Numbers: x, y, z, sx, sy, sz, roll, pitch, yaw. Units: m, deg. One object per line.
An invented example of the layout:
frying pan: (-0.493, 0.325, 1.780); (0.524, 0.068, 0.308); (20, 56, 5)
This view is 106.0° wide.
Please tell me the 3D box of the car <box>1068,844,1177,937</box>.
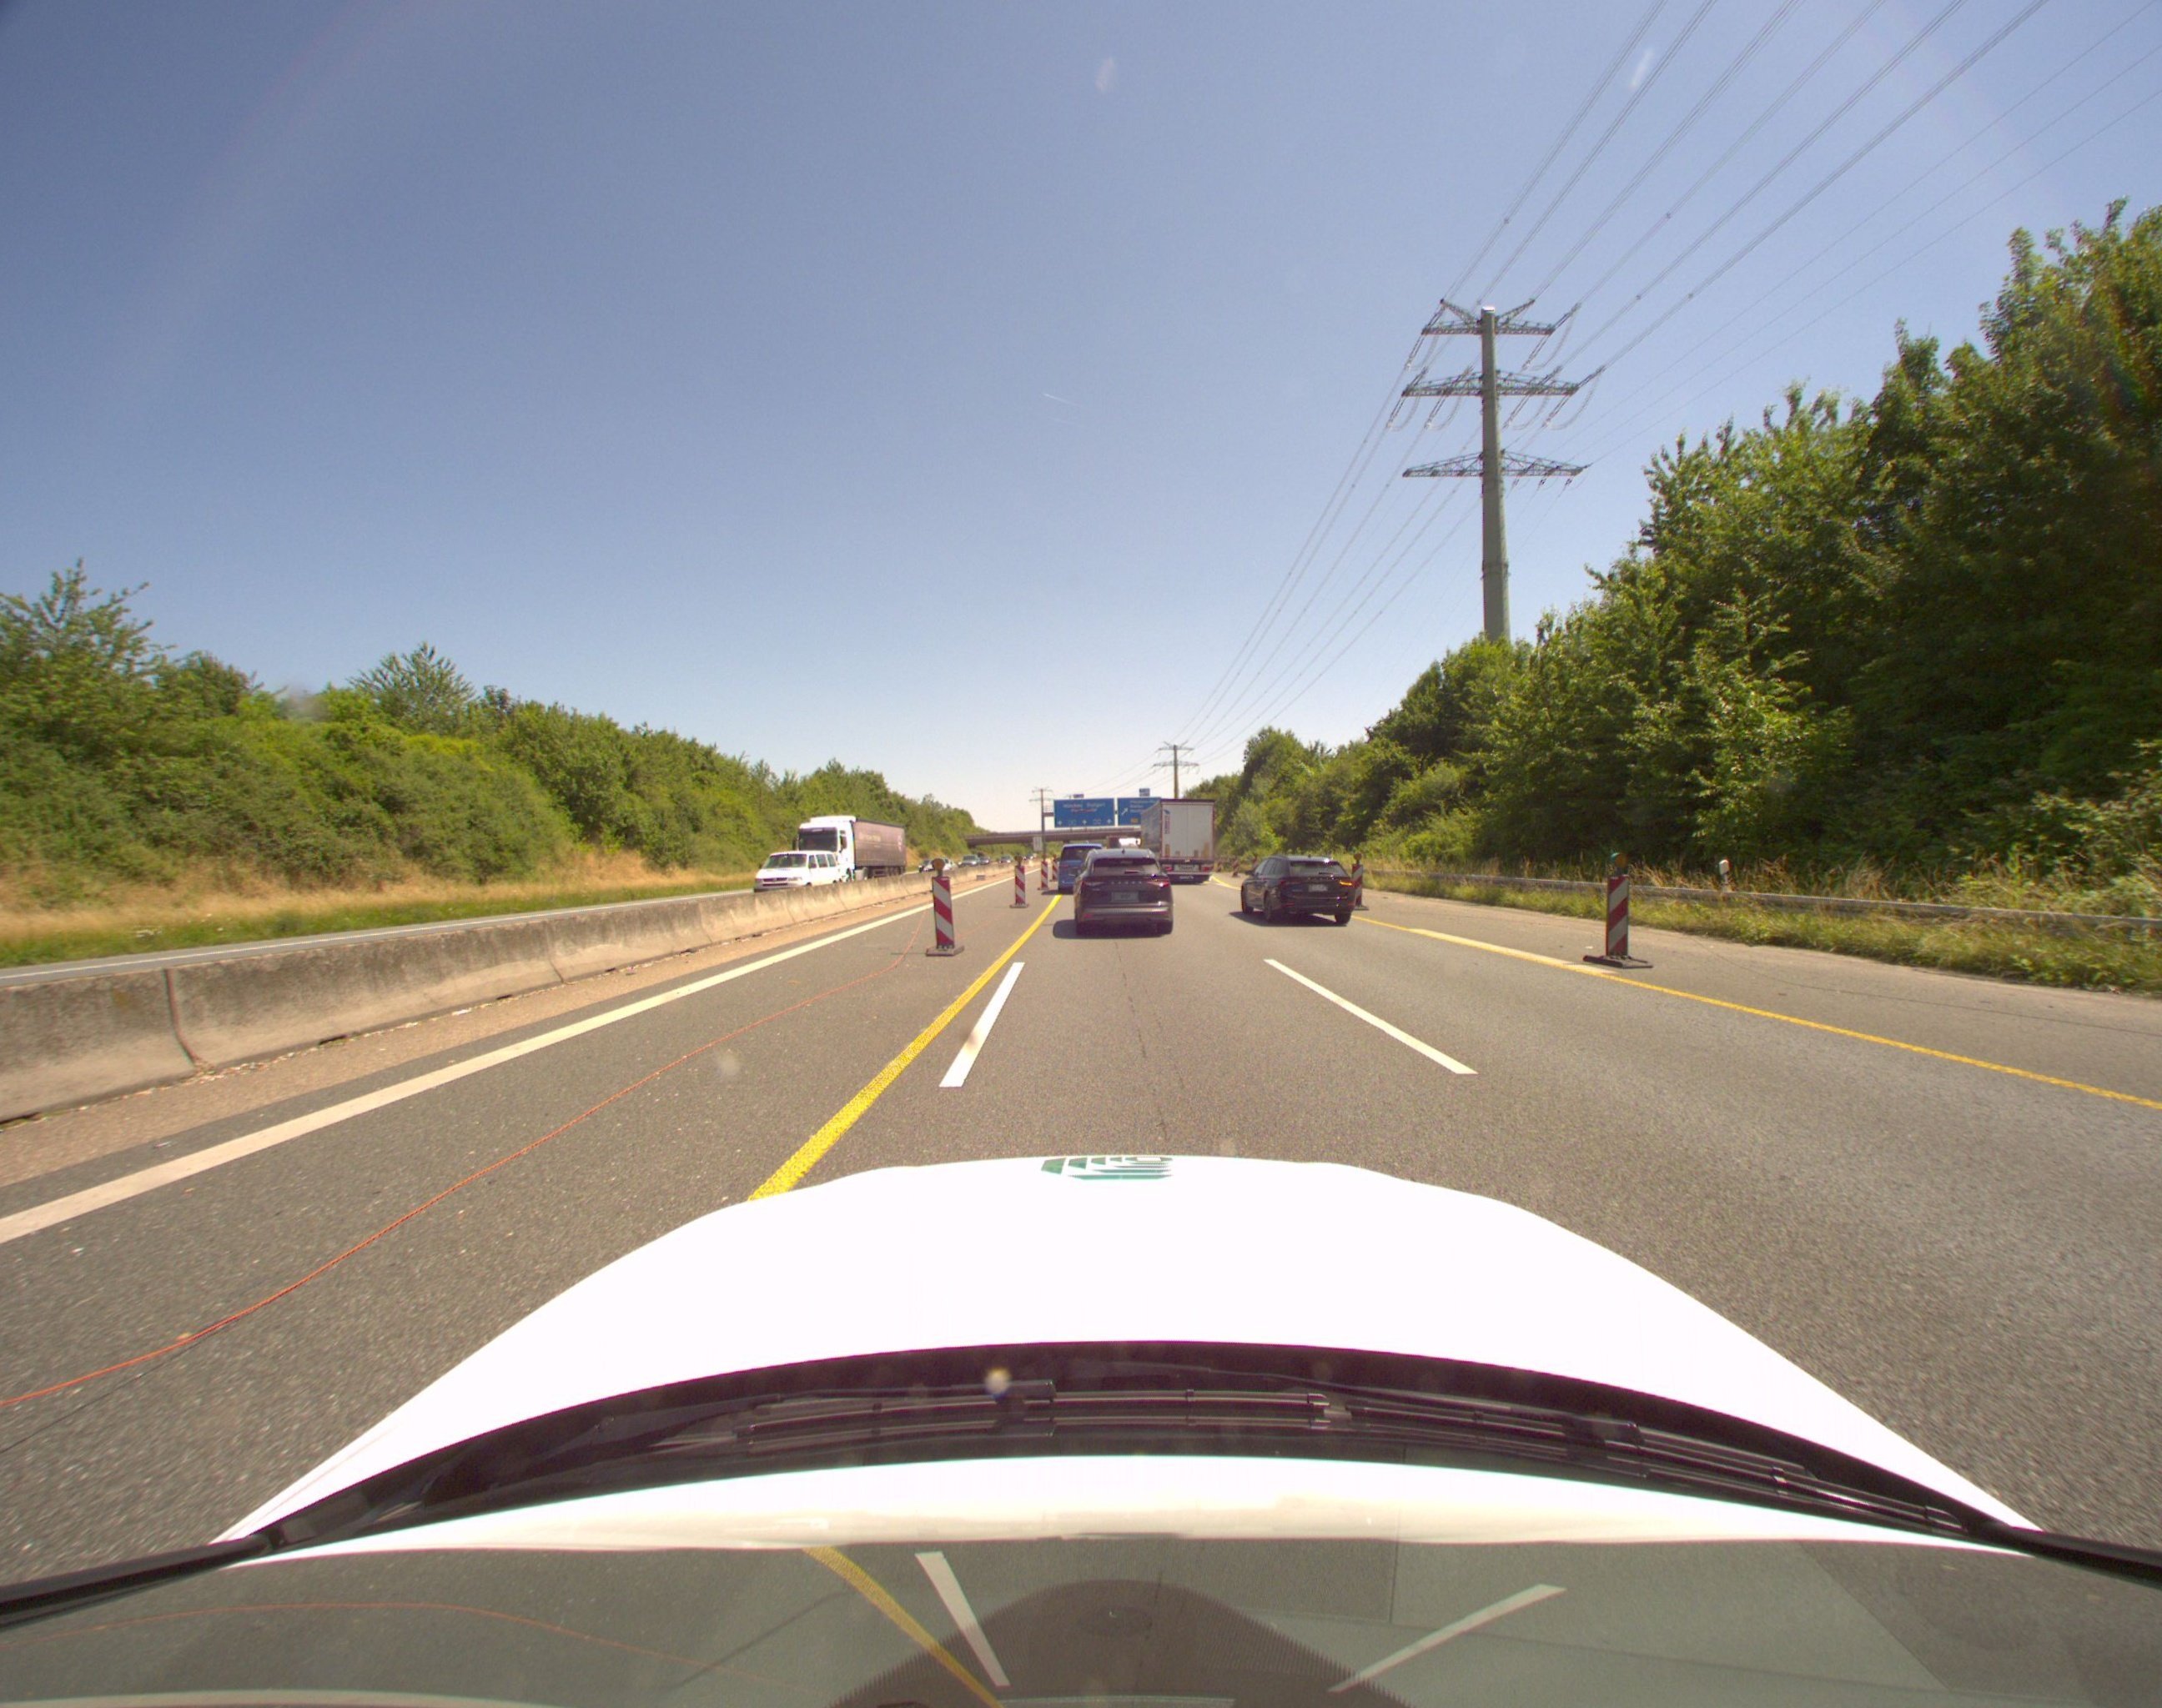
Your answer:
car: (0.730, 0.624, 16.629); (1.890, 1.592, 4.441); (-2, 0, 0)

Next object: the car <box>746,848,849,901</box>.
car: (-10.753, 0.709, 31.380); (1.860, 1.792, 5.456); (-2, 0, 1)

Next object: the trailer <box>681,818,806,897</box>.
trailer: (-20.367, 0.187, 50.221); (2.472, 4.180, 12.085); (-2, 0, 0)

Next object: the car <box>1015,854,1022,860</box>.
car: (-16.654, 0.860, 217.711); (1.494, 1.548, 4.001); (-2, 0, 1)

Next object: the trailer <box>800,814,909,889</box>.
trailer: (-14.492, -0.158, 53.838); (3.150, 4.180, 13.684); (-2, 0, 0)

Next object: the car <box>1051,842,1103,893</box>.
car: (-0.150, 0.526, 31.861); (1.890, 1.841, 4.441); (0, -1, 0)

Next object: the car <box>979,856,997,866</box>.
car: (-13.576, 1.020, 119.346); (1.986, 1.460, 4.589); (-2, 0, 2)

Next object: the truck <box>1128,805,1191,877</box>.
truck: (4.712, -0.761, 50.380); (3.015, 4.087, 7.792); (-1, 0, -1)

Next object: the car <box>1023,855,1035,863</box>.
car: (-9.667, 0.939, 151.321); (1.843, 1.460, 4.488); (-2, 0, 0)

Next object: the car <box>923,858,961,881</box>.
car: (-9.906, 1.054, 58.308); (1.755, 1.471, 4.636); (-2, 0, 2)

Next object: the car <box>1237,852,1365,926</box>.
car: (4.866, 0.696, 18.661); (1.773, 1.489, 4.464); (0, 0, 0)

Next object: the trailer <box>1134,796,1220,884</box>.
trailer: (4.837, -0.686, 43.494); (3.056, 4.042, 11.483); (-1, 0, -1)

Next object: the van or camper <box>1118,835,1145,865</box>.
van or camper: (5.321, -0.403, 85.975); (2.577, 2.968, 6.087); (2, 0, 2)

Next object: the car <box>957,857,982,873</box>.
car: (-10.803, 1.053, 79.084); (1.610, 1.442, 3.992); (-2, 0, 2)

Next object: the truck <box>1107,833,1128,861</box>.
truck: (5.433, -1.016, 123.685); (3.066, 4.146, 13.059); (0, 0, 2)

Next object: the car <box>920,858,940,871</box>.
car: (-17.005, 1.185, 91.805); (1.499, 1.396, 4.087); (-2, 0, -2)

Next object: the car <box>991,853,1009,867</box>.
car: (-10.816, 0.810, 109.534); (1.835, 1.714, 4.397); (-2, 0, 1)

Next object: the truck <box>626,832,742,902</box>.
truck: (-20.416, 0.616, 42.379); (2.456, 3.288, 6.924); (-2, 0, 0)

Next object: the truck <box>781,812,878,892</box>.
truck: (-14.547, -0.124, 47.739); (3.153, 4.224, 7.415); (-2, 0, 1)
